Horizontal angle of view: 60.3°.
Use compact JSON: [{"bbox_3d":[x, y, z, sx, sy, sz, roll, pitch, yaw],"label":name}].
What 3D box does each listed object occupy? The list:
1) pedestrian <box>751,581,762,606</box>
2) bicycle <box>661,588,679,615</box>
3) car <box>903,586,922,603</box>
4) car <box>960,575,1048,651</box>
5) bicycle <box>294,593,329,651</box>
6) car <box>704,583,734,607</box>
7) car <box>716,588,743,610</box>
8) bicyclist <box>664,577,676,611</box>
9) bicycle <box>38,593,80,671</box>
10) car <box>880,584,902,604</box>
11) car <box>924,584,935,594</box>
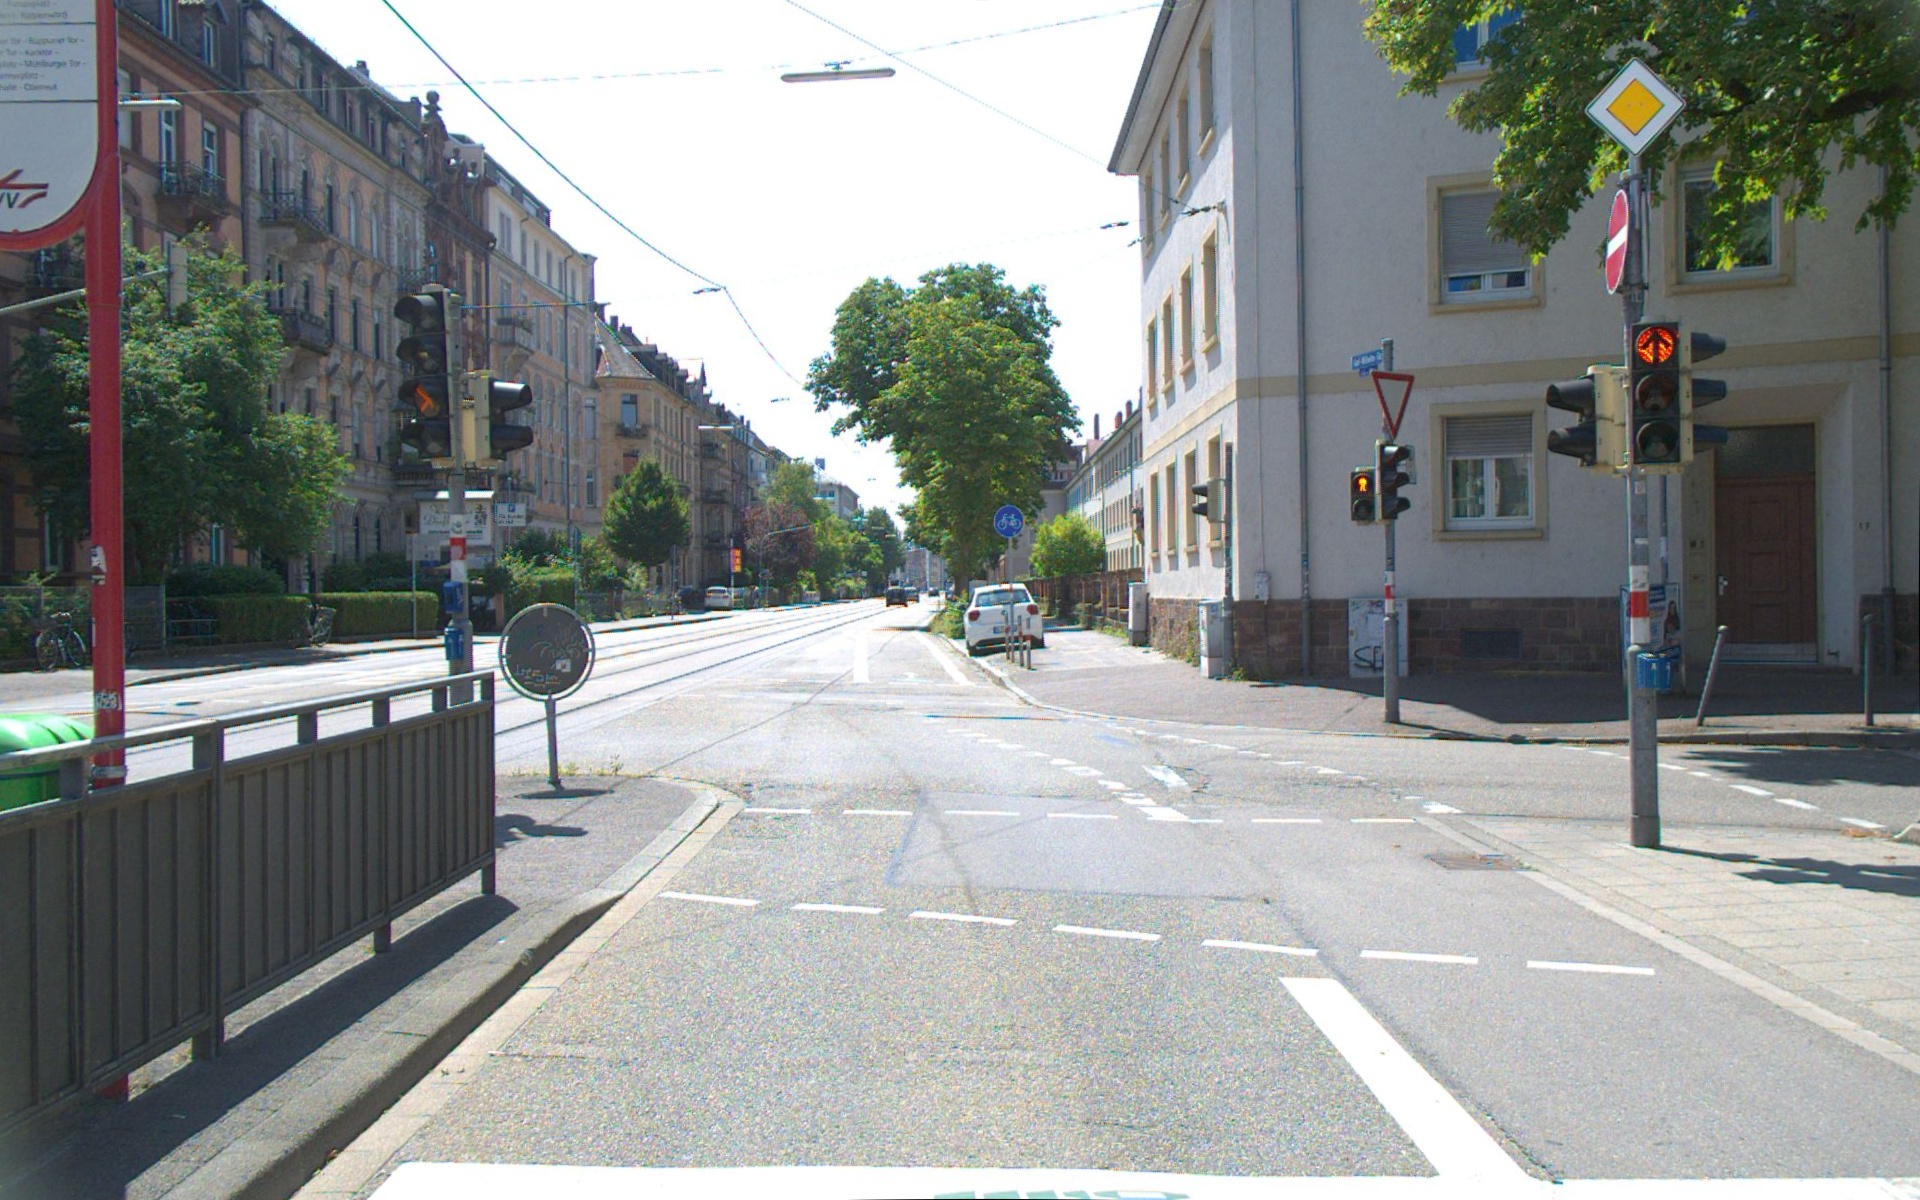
[{"bbox_3d":[-14.643,-0.461,119.088,0.664,1.758,0.677,0,0,-1],"label":"pedestrian"},{"bbox_3d":[-15.366,0.053,87.672,0.565,1.412,2.501,0,0,-1],"label":"bicycle"},{"bbox_3d":[-4.731,-0.546,164.066,1.712,1.498,3.937,-4,0,-1],"label":"car"},{"bbox_3d":[0.939,0.273,37.157,1.712,1.498,3.937,-4,0,-1],"label":"car"},{"bbox_3d":[-15.906,0.514,40.524,0.584,1.380,2.419,0,0,-27],"label":"bicycle"},{"bbox_3d":[-16.798,-0.326,115.396,1.651,1.498,3.936,-4,0,-3],"label":"car"},{"bbox_3d":[-17.209,-0.100,123.611,1.596,1.498,3.562,-4,0,-3],"label":"car"},{"bbox_3d":[-15.362,-0.323,87.621,0.531,1.794,0.498,0,0,-1],"label":"bicyclist"},{"bbox_3d":[-16.917,0.581,31.085,0.607,1.420,2.288,0,0,-27],"label":"bicycle"},{"bbox_3d":[-5.243,-0.477,126.787,1.494,1.469,3.364,-2,0,0],"label":"car"},{"bbox_3d":[-4.791,-1.728,261.432,1.596,1.498,3.562,-4,0,-3],"label":"car"}]
